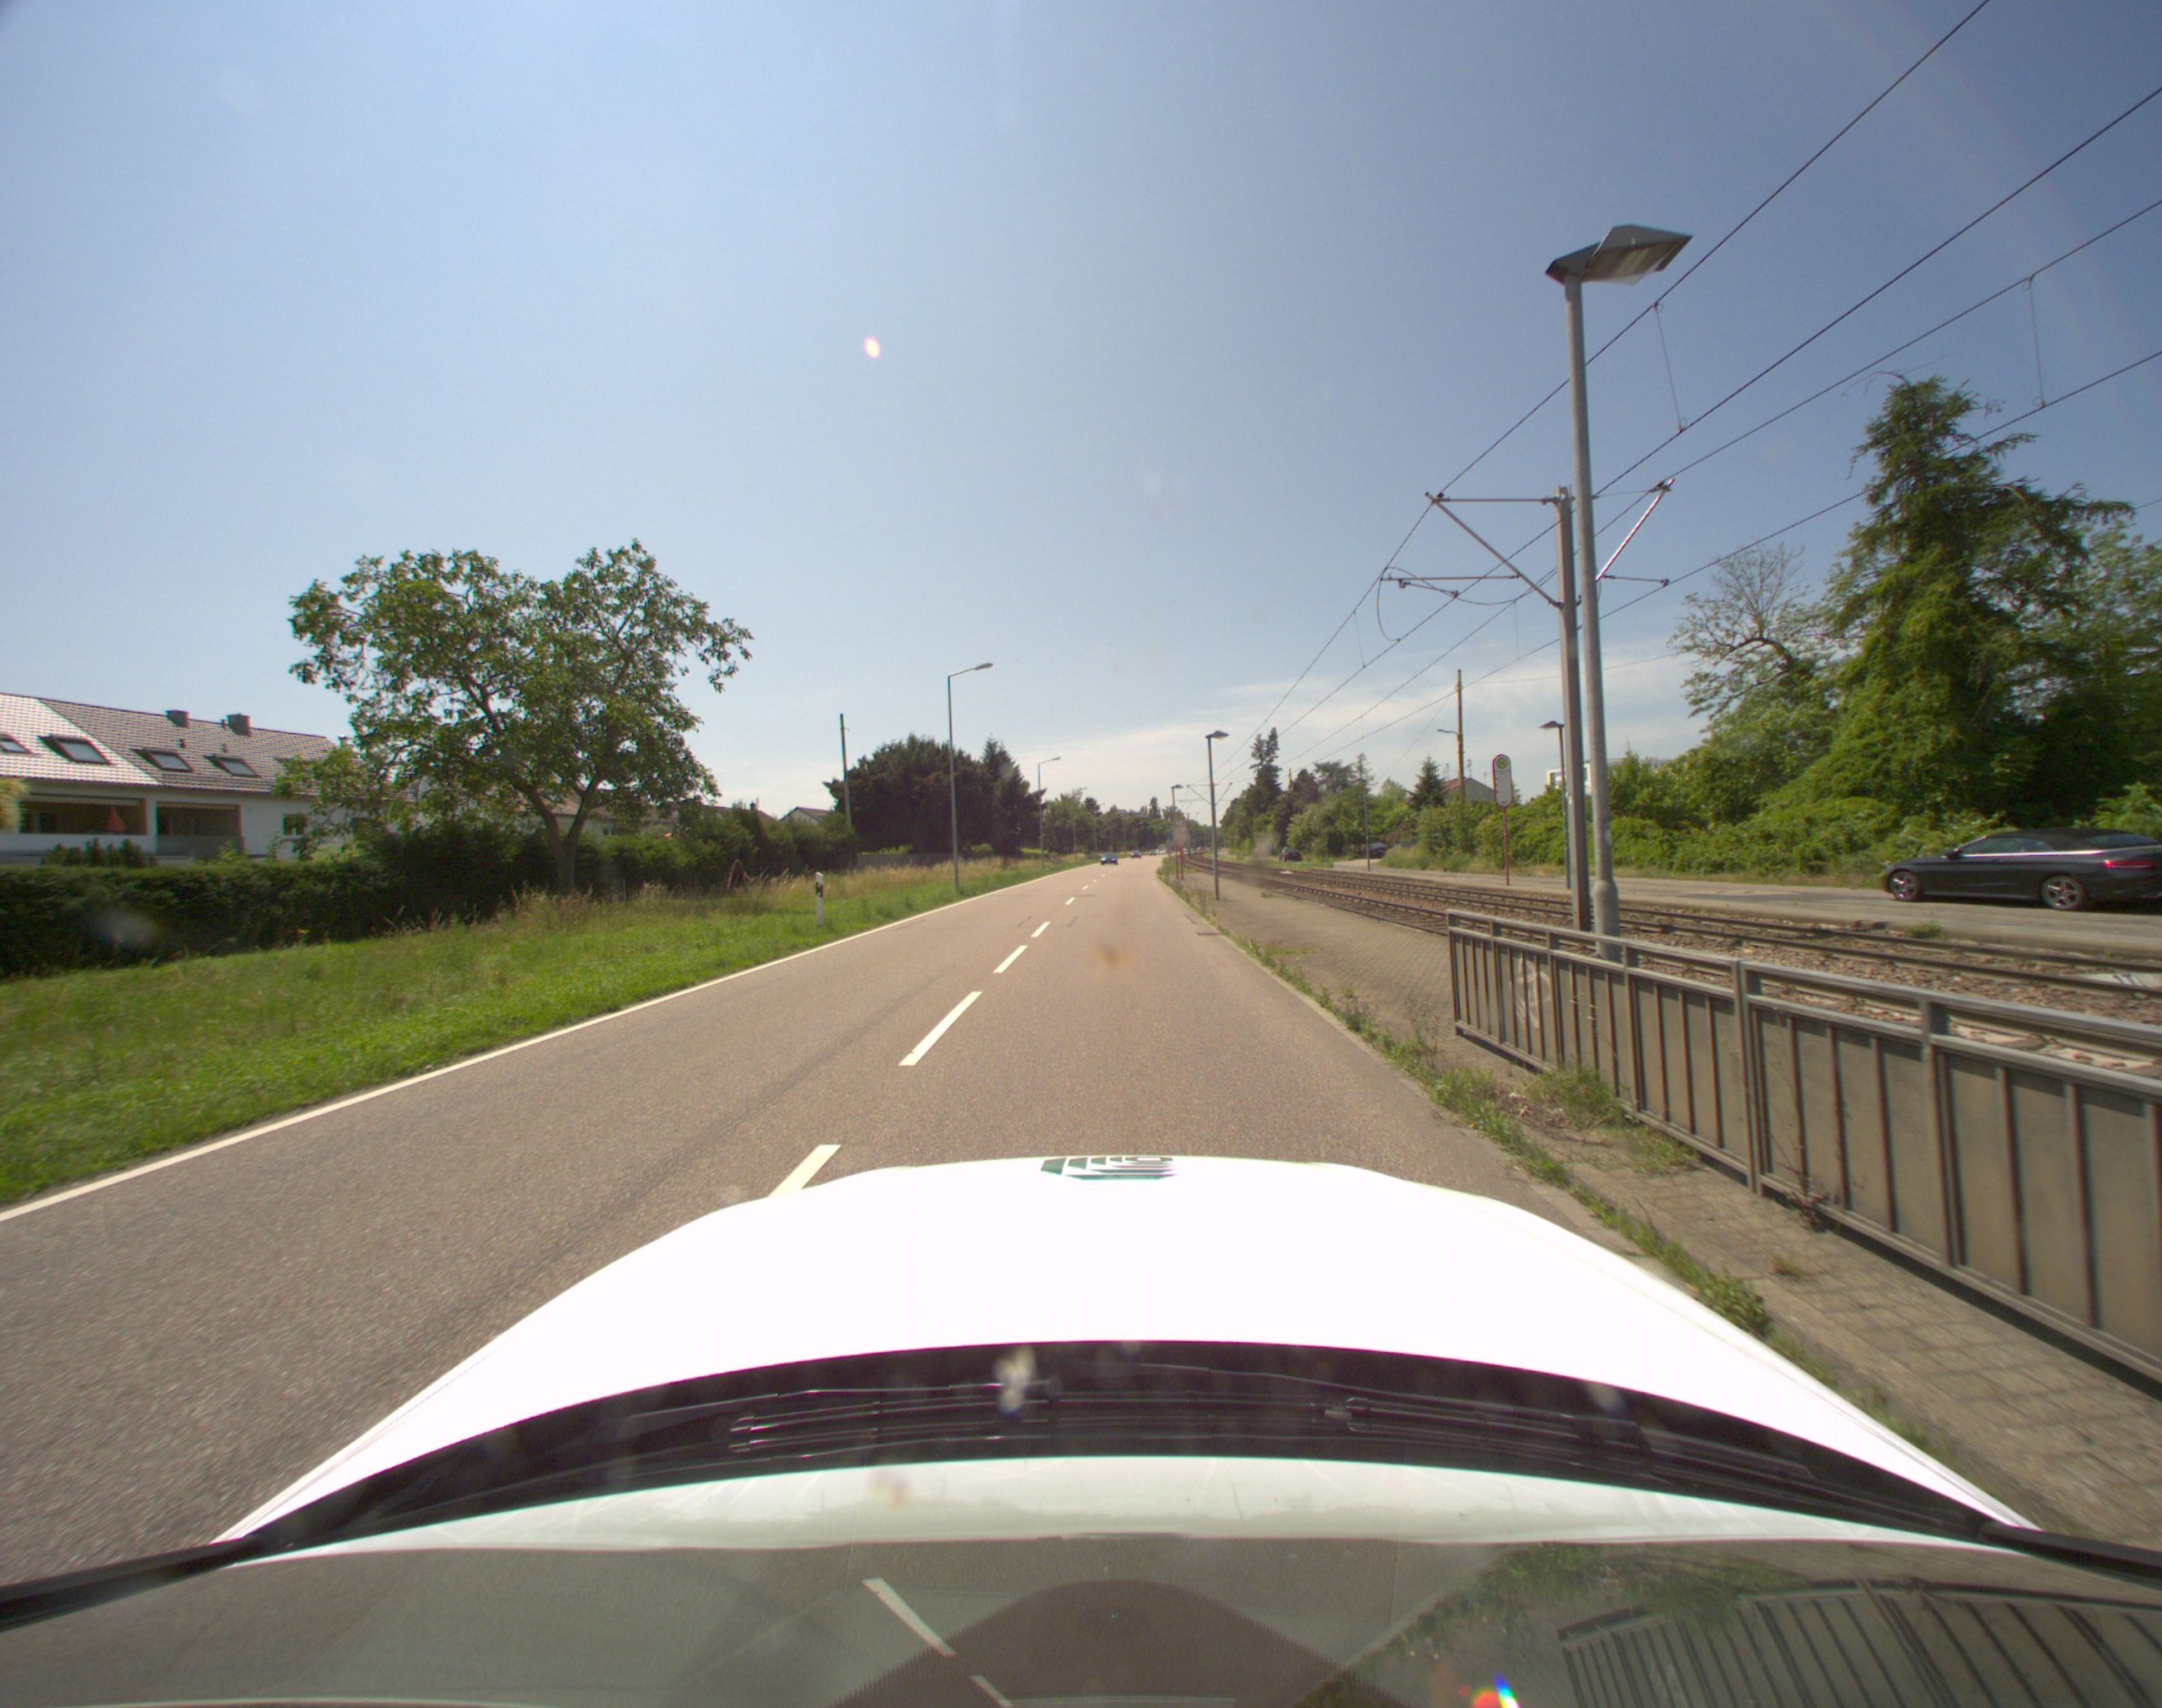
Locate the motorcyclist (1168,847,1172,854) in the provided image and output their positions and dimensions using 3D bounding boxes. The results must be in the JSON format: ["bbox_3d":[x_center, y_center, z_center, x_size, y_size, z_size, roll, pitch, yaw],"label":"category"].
[{"bbox_3d":[24.213,-0.914,221.794,0.886,1.905,1.018,-1,0,10],"label":"motorcyclist"}]

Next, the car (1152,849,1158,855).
[{"bbox_3d":[21.387,-0.530,235.206,1.738,1.503,3.713,-1,0,6],"label":"car"}]

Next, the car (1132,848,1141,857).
[{"bbox_3d":[11.210,-0.325,164.121,1.738,1.632,4.035,-1,0,5],"label":"car"}]

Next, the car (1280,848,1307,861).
[{"bbox_3d":[22.219,0.059,85.194,1.853,1.330,4.519,-1,0,3],"label":"car"}]

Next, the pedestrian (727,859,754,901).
[{"bbox_3d":[-12.029,0.907,28.791,0.606,1.477,0.634,-1,0,4],"label":"pedestrian"}]

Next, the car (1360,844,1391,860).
[{"bbox_3d":[27.417,-0.199,75.901,1.713,1.419,3.743,-1,0,3],"label":"car"}]

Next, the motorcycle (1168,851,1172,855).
[{"bbox_3d":[24.230,-0.283,221.486,0.964,1.117,2.740,-1,0,10],"label":"motorcycle"}]

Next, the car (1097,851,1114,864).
[{"bbox_3d":[2.913,0.368,95.320,1.698,1.404,4.713,-1,0,5],"label":"car"}]

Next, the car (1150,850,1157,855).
[{"bbox_3d":[19.523,-0.387,218.891,1.692,1.491,4.448,-1,0,6],"label":"car"}]

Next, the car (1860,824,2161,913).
[{"bbox_3d":[17.823,0.221,15.418,1.613,1.422,4.876,-1,0,3],"label":"car"}]

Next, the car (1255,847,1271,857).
[{"bbox_3d":[26.374,-0.267,118.167,1.904,1.470,4.007,-1,0,6],"label":"car"}]
